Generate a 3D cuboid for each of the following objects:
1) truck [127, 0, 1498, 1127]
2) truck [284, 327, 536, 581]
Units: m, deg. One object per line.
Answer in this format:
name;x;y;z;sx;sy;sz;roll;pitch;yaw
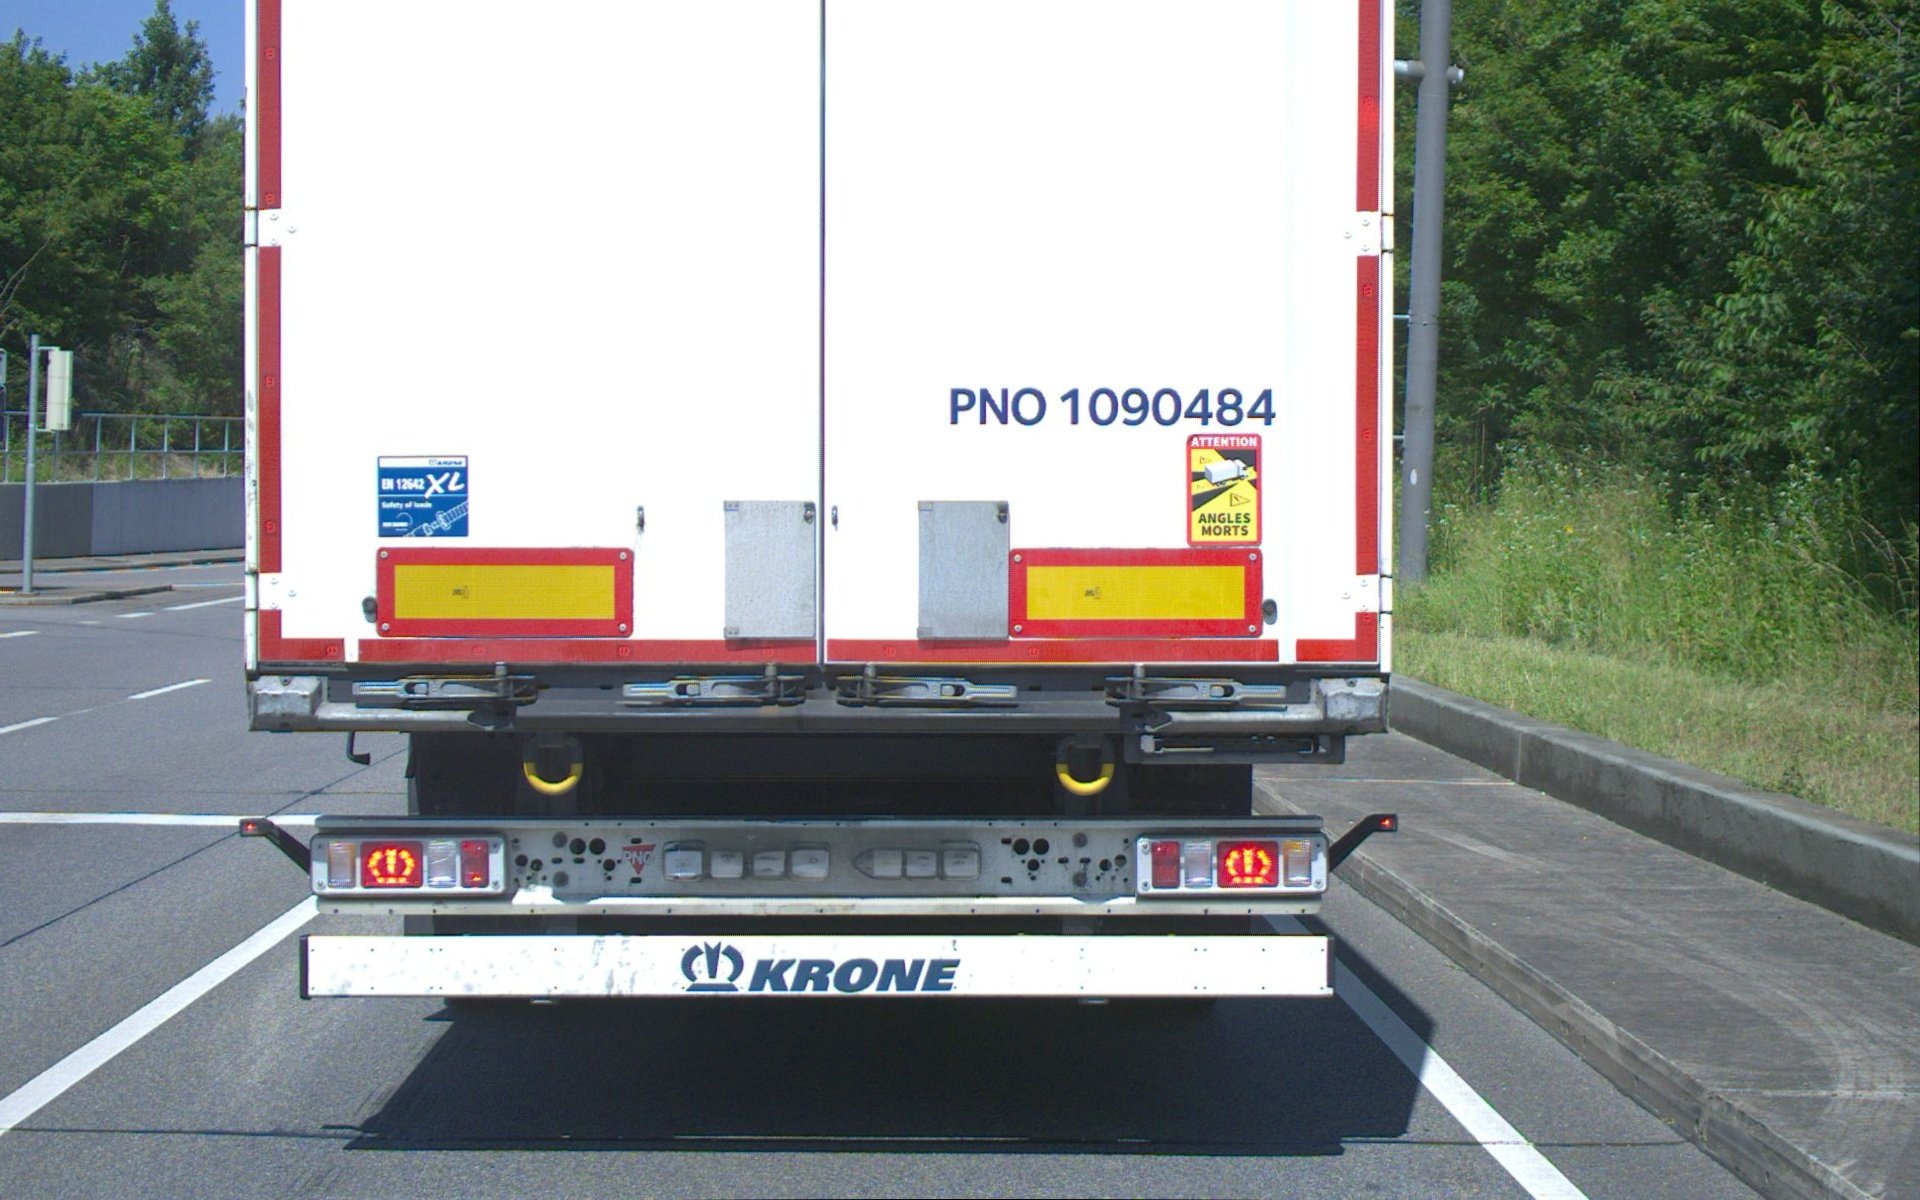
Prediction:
truck;-0.353;-1.284;12.377;2.950;4.552;9.863;1;2;0
truck;-8.972;-2.405;57.480;2.353;3.737;12.627;1;2;-1
